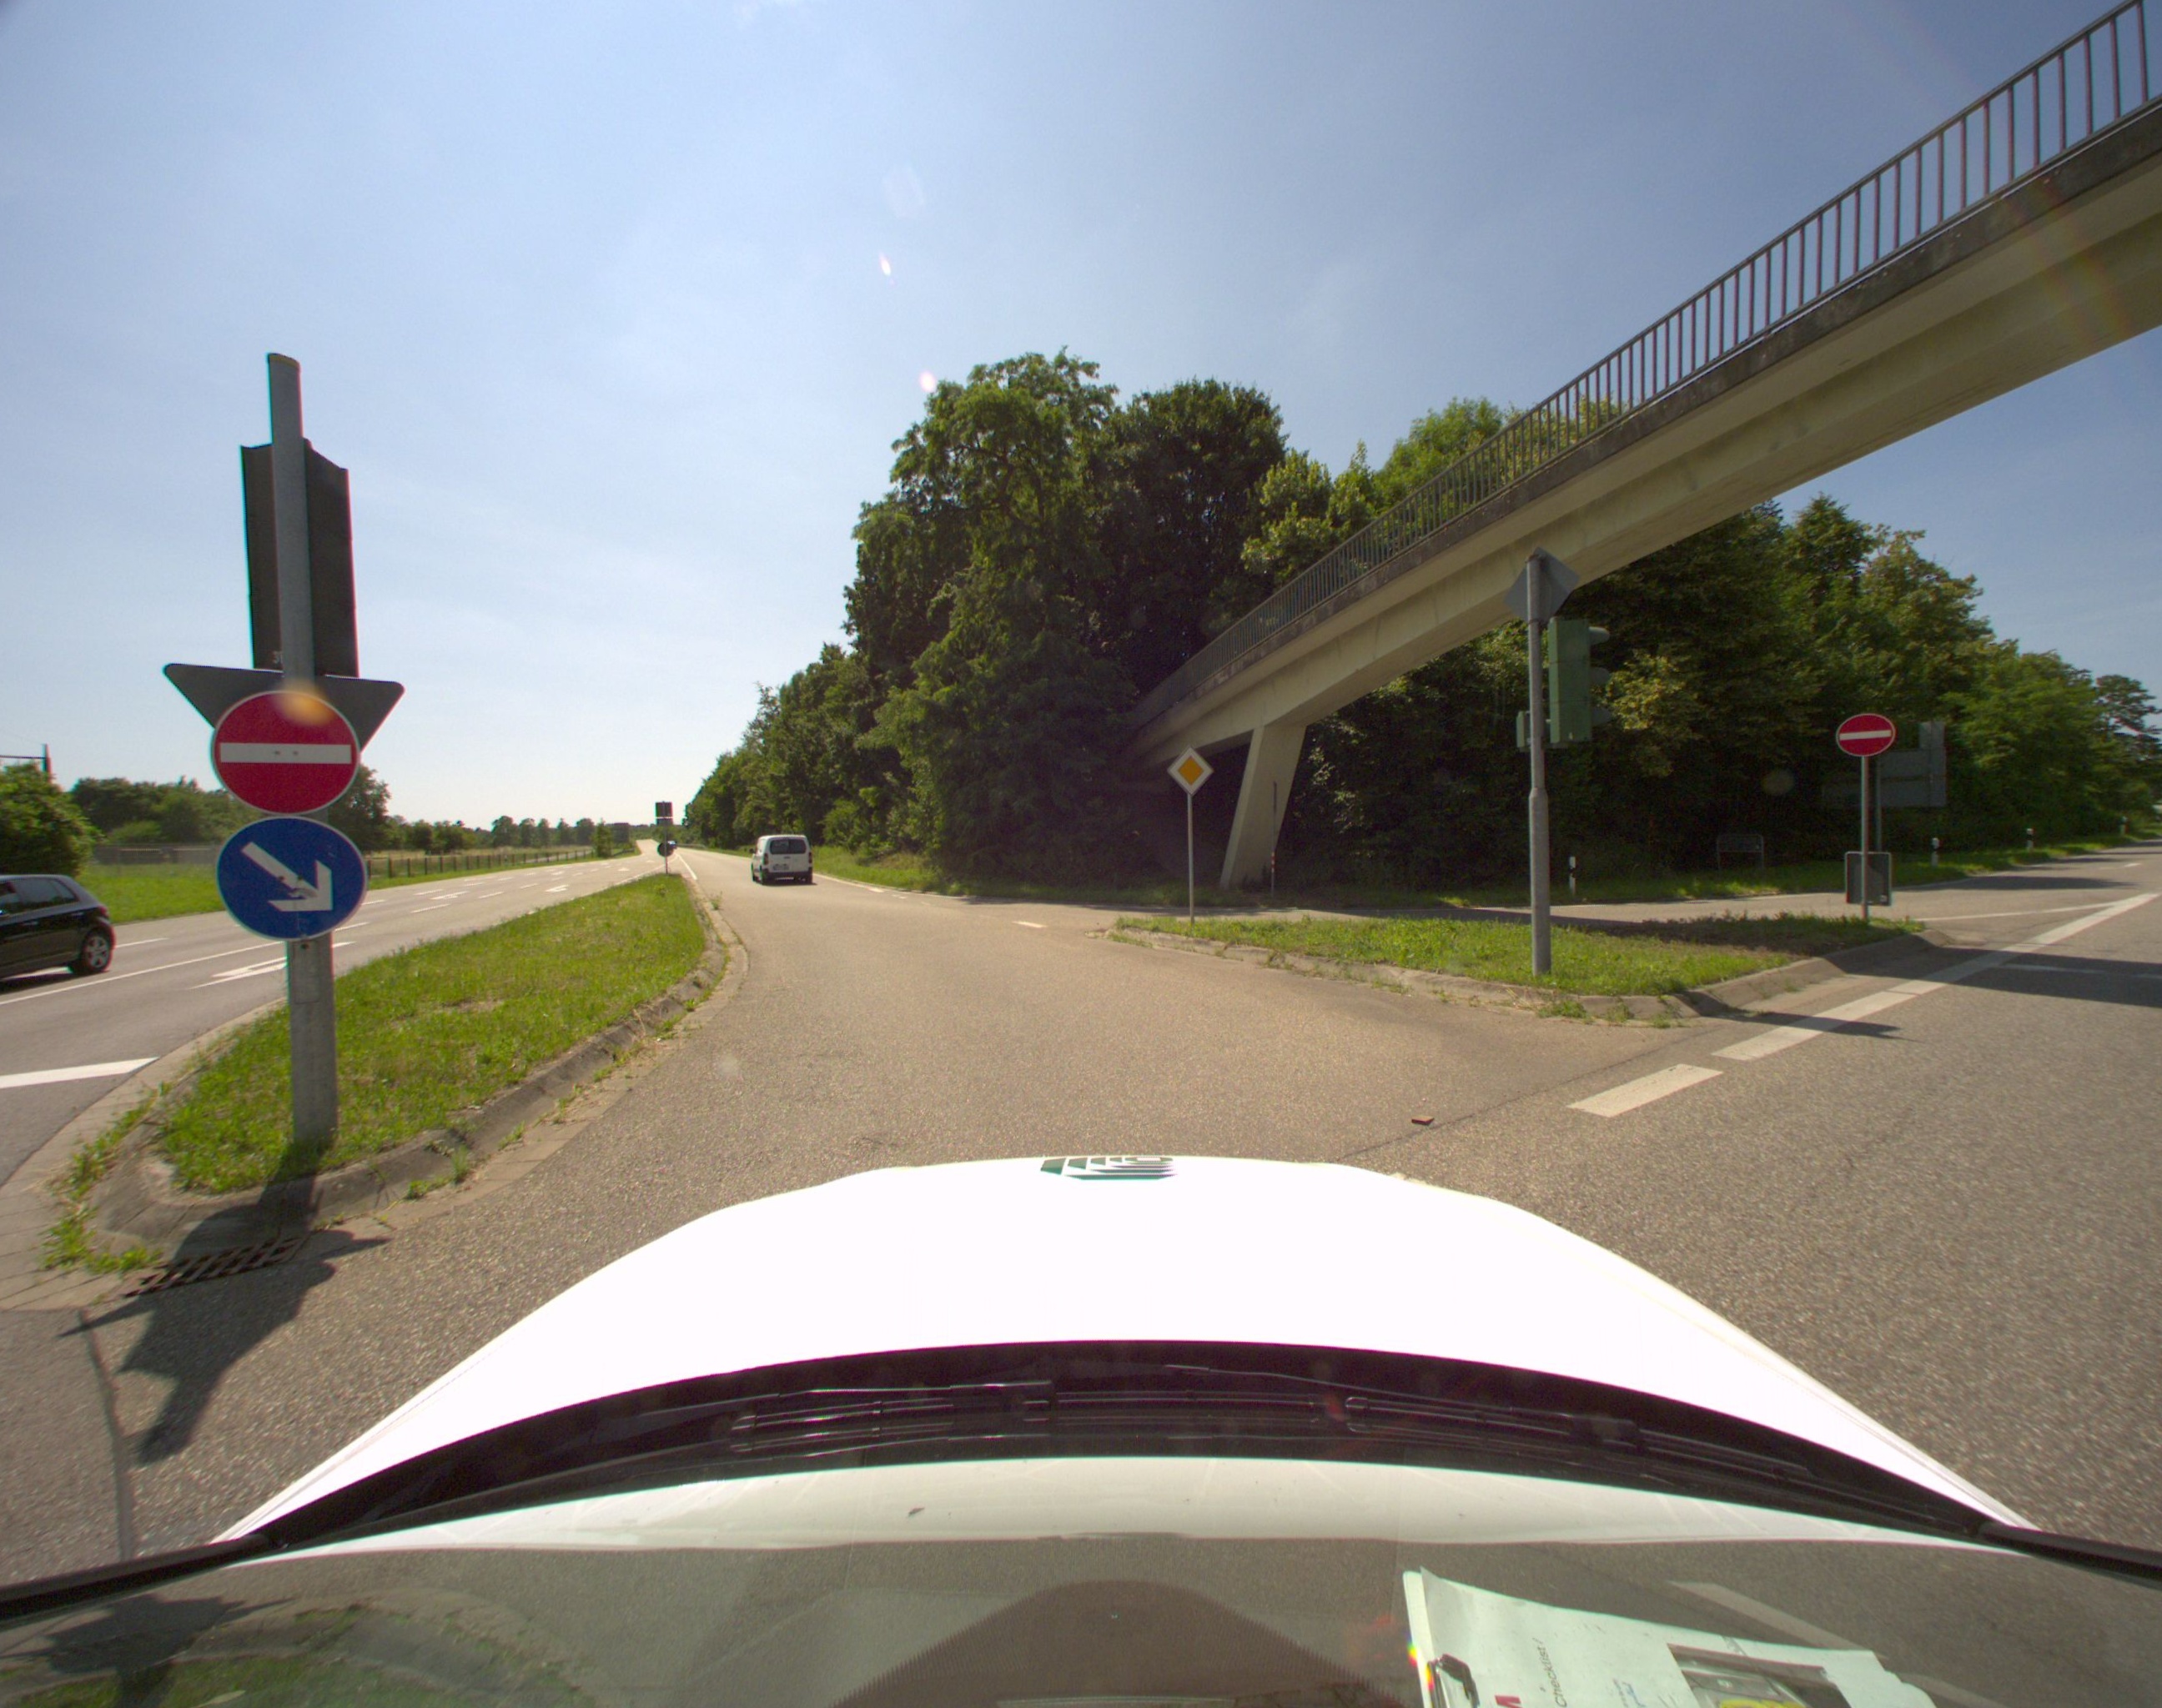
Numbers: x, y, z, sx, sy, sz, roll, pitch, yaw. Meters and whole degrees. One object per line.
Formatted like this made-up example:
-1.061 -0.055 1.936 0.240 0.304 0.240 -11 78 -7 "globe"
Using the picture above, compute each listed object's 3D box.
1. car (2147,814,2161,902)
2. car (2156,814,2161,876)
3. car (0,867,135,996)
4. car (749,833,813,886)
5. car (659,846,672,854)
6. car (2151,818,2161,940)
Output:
20.048 -0.015 13.831 4.070 1.460 1.994 -2 0 -32 "car"
27.354 -0.266 19.271 4.070 1.460 1.994 -2 1 -32 "car"
-14.202 1.034 9.946 1.744 1.531 4.134 -5 2 -24 "car"
-11.403 0.181 30.837 1.859 1.825 3.947 -2 1 -26 "car"
-74.909 -0.646 146.902 2.004 1.373 4.741 -2 1 -26 "car"
15.156 0.229 10.054 4.070 1.460 1.994 -2 0 -32 "car"
